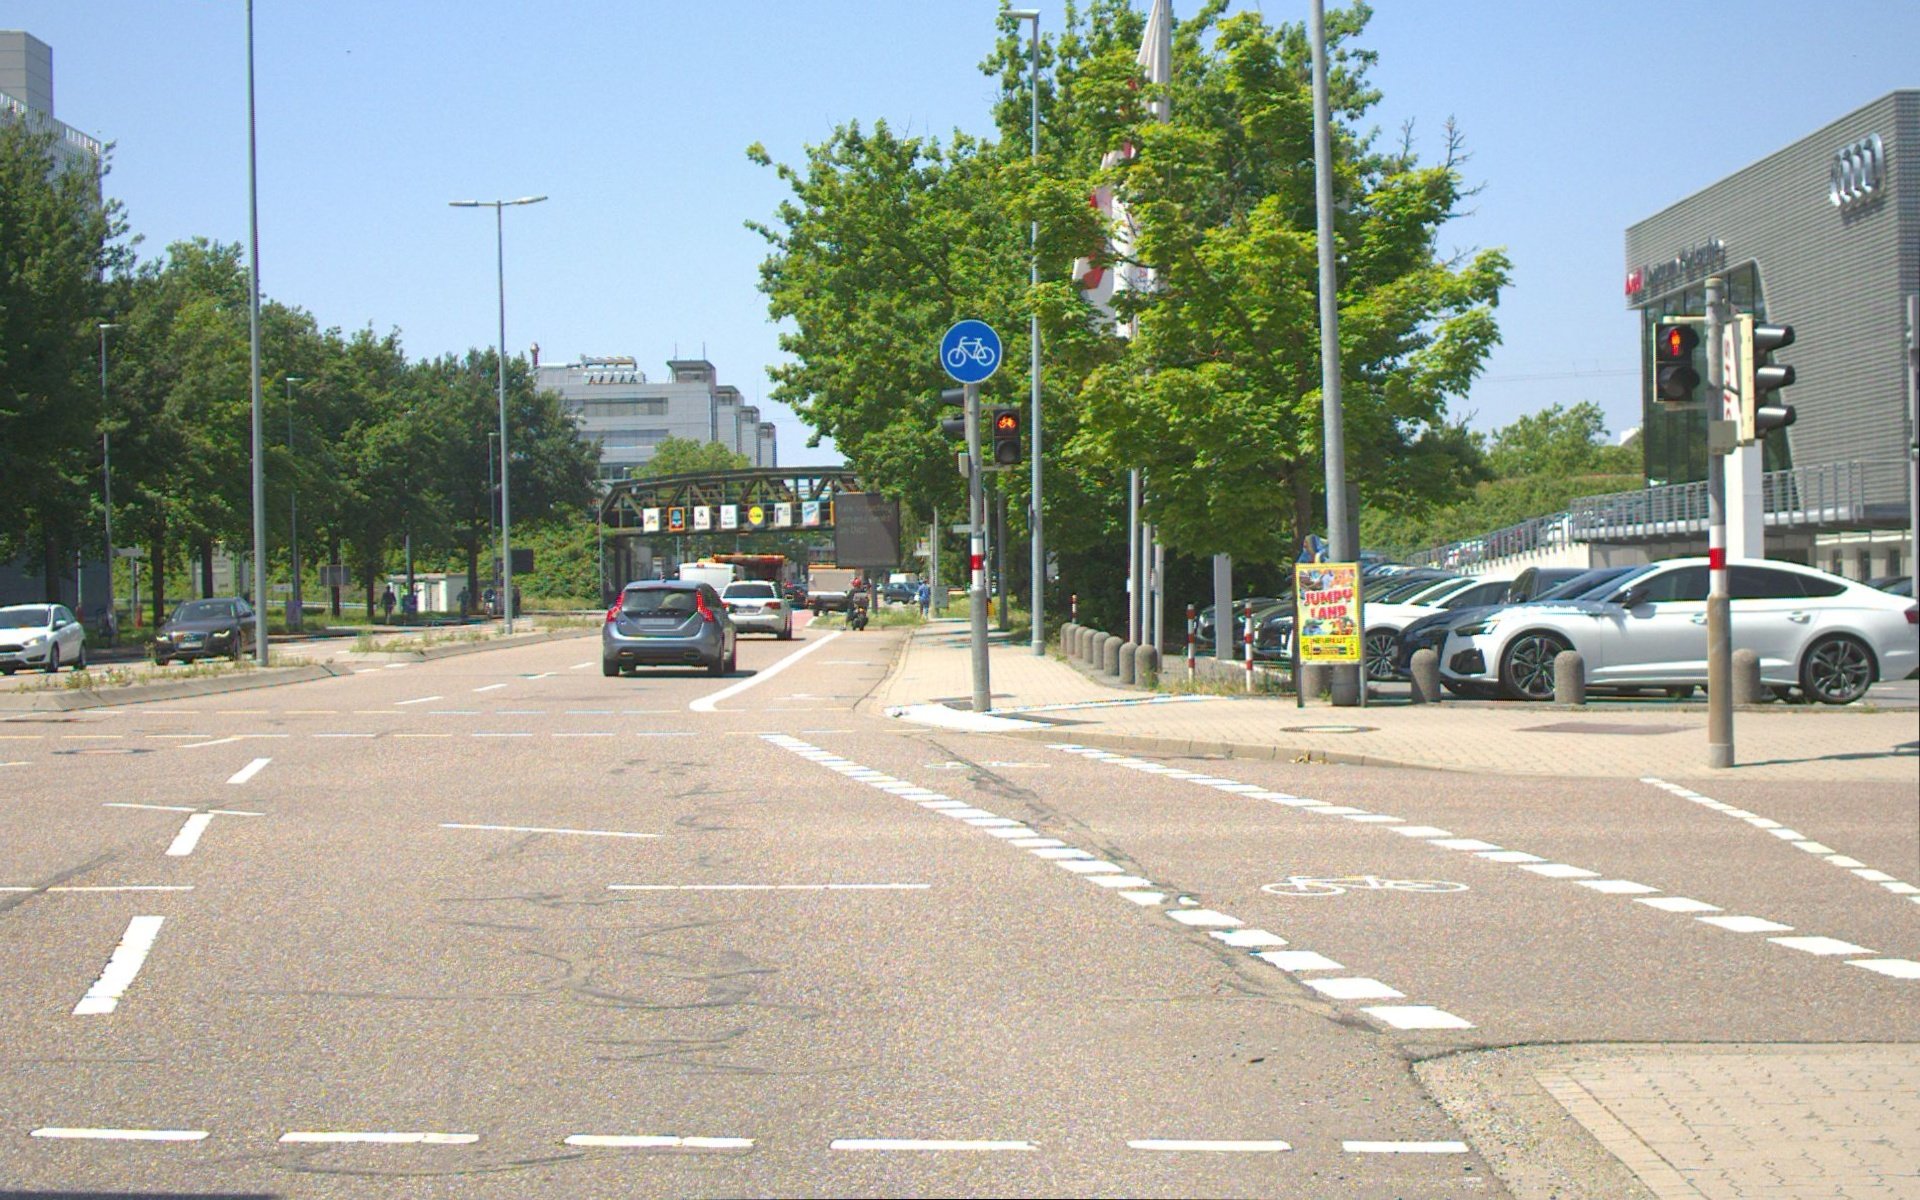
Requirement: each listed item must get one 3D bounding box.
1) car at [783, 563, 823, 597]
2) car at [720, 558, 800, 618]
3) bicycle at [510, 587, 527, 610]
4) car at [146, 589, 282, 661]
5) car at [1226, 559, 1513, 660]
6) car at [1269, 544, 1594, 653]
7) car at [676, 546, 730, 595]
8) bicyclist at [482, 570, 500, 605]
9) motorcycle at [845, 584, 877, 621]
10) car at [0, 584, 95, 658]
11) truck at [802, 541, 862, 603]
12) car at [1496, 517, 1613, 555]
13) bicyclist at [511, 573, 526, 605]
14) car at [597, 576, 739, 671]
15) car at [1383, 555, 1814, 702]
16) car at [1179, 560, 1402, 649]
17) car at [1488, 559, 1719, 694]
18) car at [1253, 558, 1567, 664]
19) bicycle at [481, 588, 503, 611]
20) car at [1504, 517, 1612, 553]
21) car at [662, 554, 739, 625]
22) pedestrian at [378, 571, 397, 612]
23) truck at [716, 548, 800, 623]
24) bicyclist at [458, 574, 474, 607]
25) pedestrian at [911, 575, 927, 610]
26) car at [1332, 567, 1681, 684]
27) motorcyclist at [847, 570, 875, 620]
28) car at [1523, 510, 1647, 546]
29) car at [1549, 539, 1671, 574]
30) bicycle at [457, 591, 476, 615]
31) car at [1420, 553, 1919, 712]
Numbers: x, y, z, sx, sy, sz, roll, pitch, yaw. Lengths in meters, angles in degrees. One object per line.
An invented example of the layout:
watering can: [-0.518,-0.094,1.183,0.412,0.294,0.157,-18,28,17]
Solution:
car: [-9.525,-1.231,208.667,1.994,2.007,4.000,-2,0,2]
car: [-4.747,-0.298,82.048,1.744,1.391,3.529,0,1,-1]
bicycle: [-23.386,-0.069,182.283,0.629,1.155,2.117,-3,0,-1]
car: [-16.284,0.536,75.275,1.726,1.441,4.719,-3,0,2]
car: [6.176,0.136,52.178,4.101,1.400,1.869,1,0,0]
car: [6.333,-0.021,46.466,4.099,1.344,1.869,1,0,0]
car: [-10.959,-1.262,146.776,1.993,2.007,4.813,1,1,-1]
bicyclist: [-23.005,-0.622,168.701,0.745,1.680,0.952,-1,0,0]
motorcycle: [-3.054,0.076,105.948,0.716,1.101,1.831,1,0,-10]
car: [-19.517,0.451,72.108,1.743,1.481,4.000,-2,0,-1]
truck: [-5.970,-1.306,160.734,2.615,2.841,5.615,1,1,-1]
car: [22.350,-2.408,129.338,3.986,1.307,1.798,1,0,-5]
bicyclist: [-23.409,-0.583,182.231,0.633,1.623,1.045,-3,0,-1]
car: [-4.468,0.341,53.128,1.900,1.371,4.232,-1,0,-1]
car: [6.588,0.286,35.766,4.096,1.385,1.869,1,0,0]
car: [5.766,0.075,60.274,3.681,1.448,1.834,1,0,0]
car: [7.348,0.275,39.689,1.863,1.415,4.662,1,0,1]
car: [6.412,0.148,49.292,4.226,1.385,1.869,1,0,0]
bicycle: [-22.994,-0.036,168.791,0.739,1.121,2.434,-1,0,0]
car: [21.748,-2.359,125.090,3.523,1.235,1.677,1,0,-5]
car: [-7.489,-0.308,99.559,1.993,2.007,4.000,0,0,-1]
pedestrian: [-26.221,-0.380,157.450,0.743,1.878,0.577,-1,0,0]
truck: [-6.736,-0.517,115.359,2.458,2.402,7.134,1,1,-1]
bicyclist: [-23.572,-0.446,164.075,0.637,1.577,0.884,-1,0,-2]
pedestrian: [-1.629,-0.294,136.017,0.623,1.370,0.564,-1,0,-2]
car: [6.891,0.311,43.632,4.096,1.360,1.874,1,0,0]
motorcyclist: [-3.063,-0.149,106.012,0.719,1.524,0.871,1,0,-10]
car: [21.884,-2.518,120.467,3.938,1.207,1.718,0,0,-5]
car: [21.958,-1.466,116.249,3.724,1.127,1.684,1,0,-5]
bicycle: [-23.556,0.125,164.118,0.637,1.130,1.971,-1,0,-2]
car: [6.869,0.301,33.258,4.592,1.385,1.869,1,0,2]
